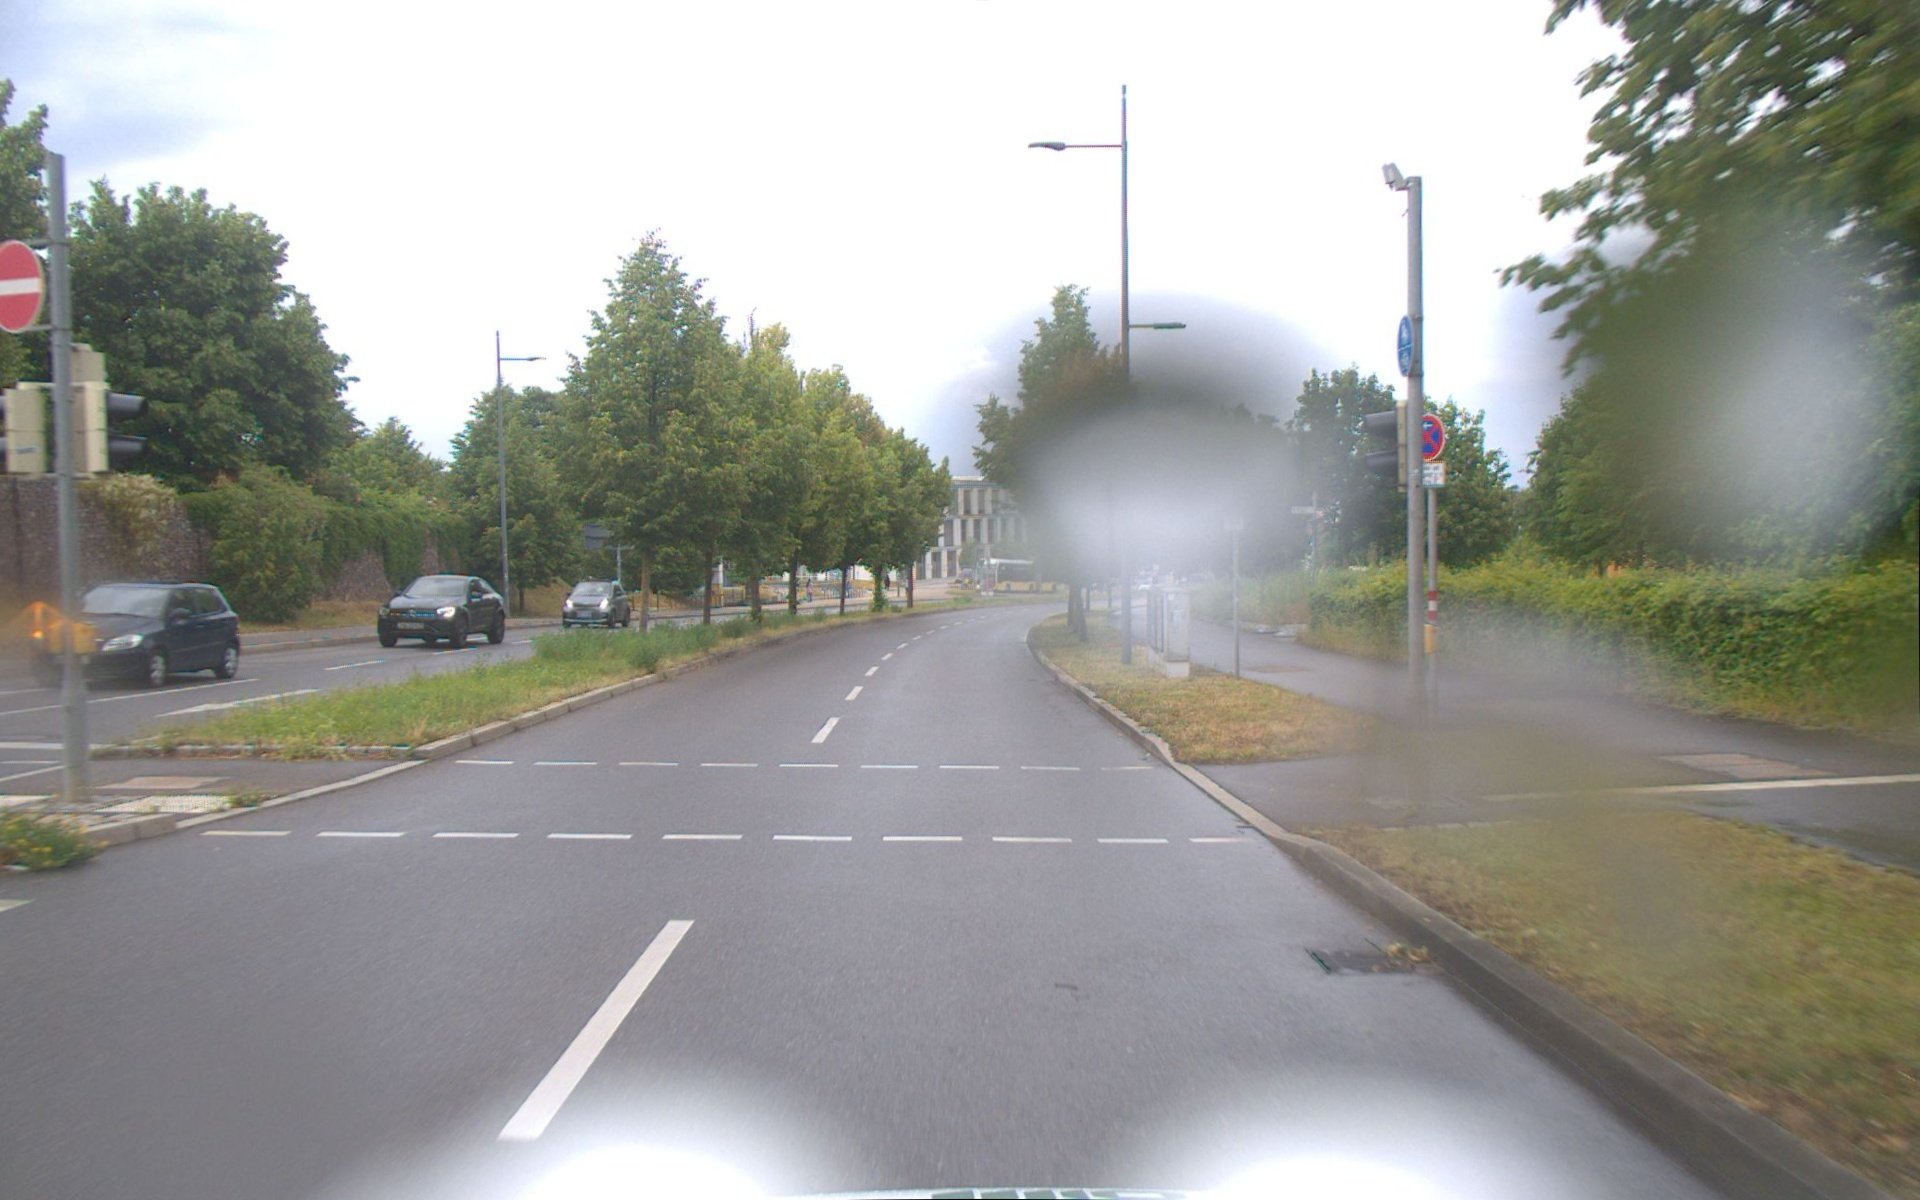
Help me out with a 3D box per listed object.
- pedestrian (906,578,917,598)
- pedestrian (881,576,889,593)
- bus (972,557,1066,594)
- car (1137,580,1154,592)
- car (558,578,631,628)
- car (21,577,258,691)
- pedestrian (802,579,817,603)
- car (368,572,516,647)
[{"bbox_3d":[-3.901,-0.973,133.269,0.817,1.601,0.718,0,-1,-5],"label":"pedestrian"},{"bbox_3d":[-7.011,-1.452,155.124,0.668,1.551,0.719,0,-1,1],"label":"pedestrian"},{"bbox_3d":[6.488,-2.517,175.363,2.730,3.416,18.206,0,-1,26],"label":"bus"},{"bbox_3d":[24.048,-1.812,214.242,1.449,1.520,2.528,0,-1,25],"label":"car"},{"bbox_3d":[-11.948,0.077,54.232,1.651,1.566,2.917,0,1,2],"label":"car"},{"bbox_3d":[-11.881,0.450,24.246,1.566,1.515,3.999,0,0,-2],"label":"car"},{"bbox_3d":[-10.551,-0.606,115.973,0.796,1.649,0.936,0,-1,12],"label":"pedestrian"},{"bbox_3d":[-12.089,0.212,38.952,1.842,1.623,4.767,1,0,2],"label":"car"}]
